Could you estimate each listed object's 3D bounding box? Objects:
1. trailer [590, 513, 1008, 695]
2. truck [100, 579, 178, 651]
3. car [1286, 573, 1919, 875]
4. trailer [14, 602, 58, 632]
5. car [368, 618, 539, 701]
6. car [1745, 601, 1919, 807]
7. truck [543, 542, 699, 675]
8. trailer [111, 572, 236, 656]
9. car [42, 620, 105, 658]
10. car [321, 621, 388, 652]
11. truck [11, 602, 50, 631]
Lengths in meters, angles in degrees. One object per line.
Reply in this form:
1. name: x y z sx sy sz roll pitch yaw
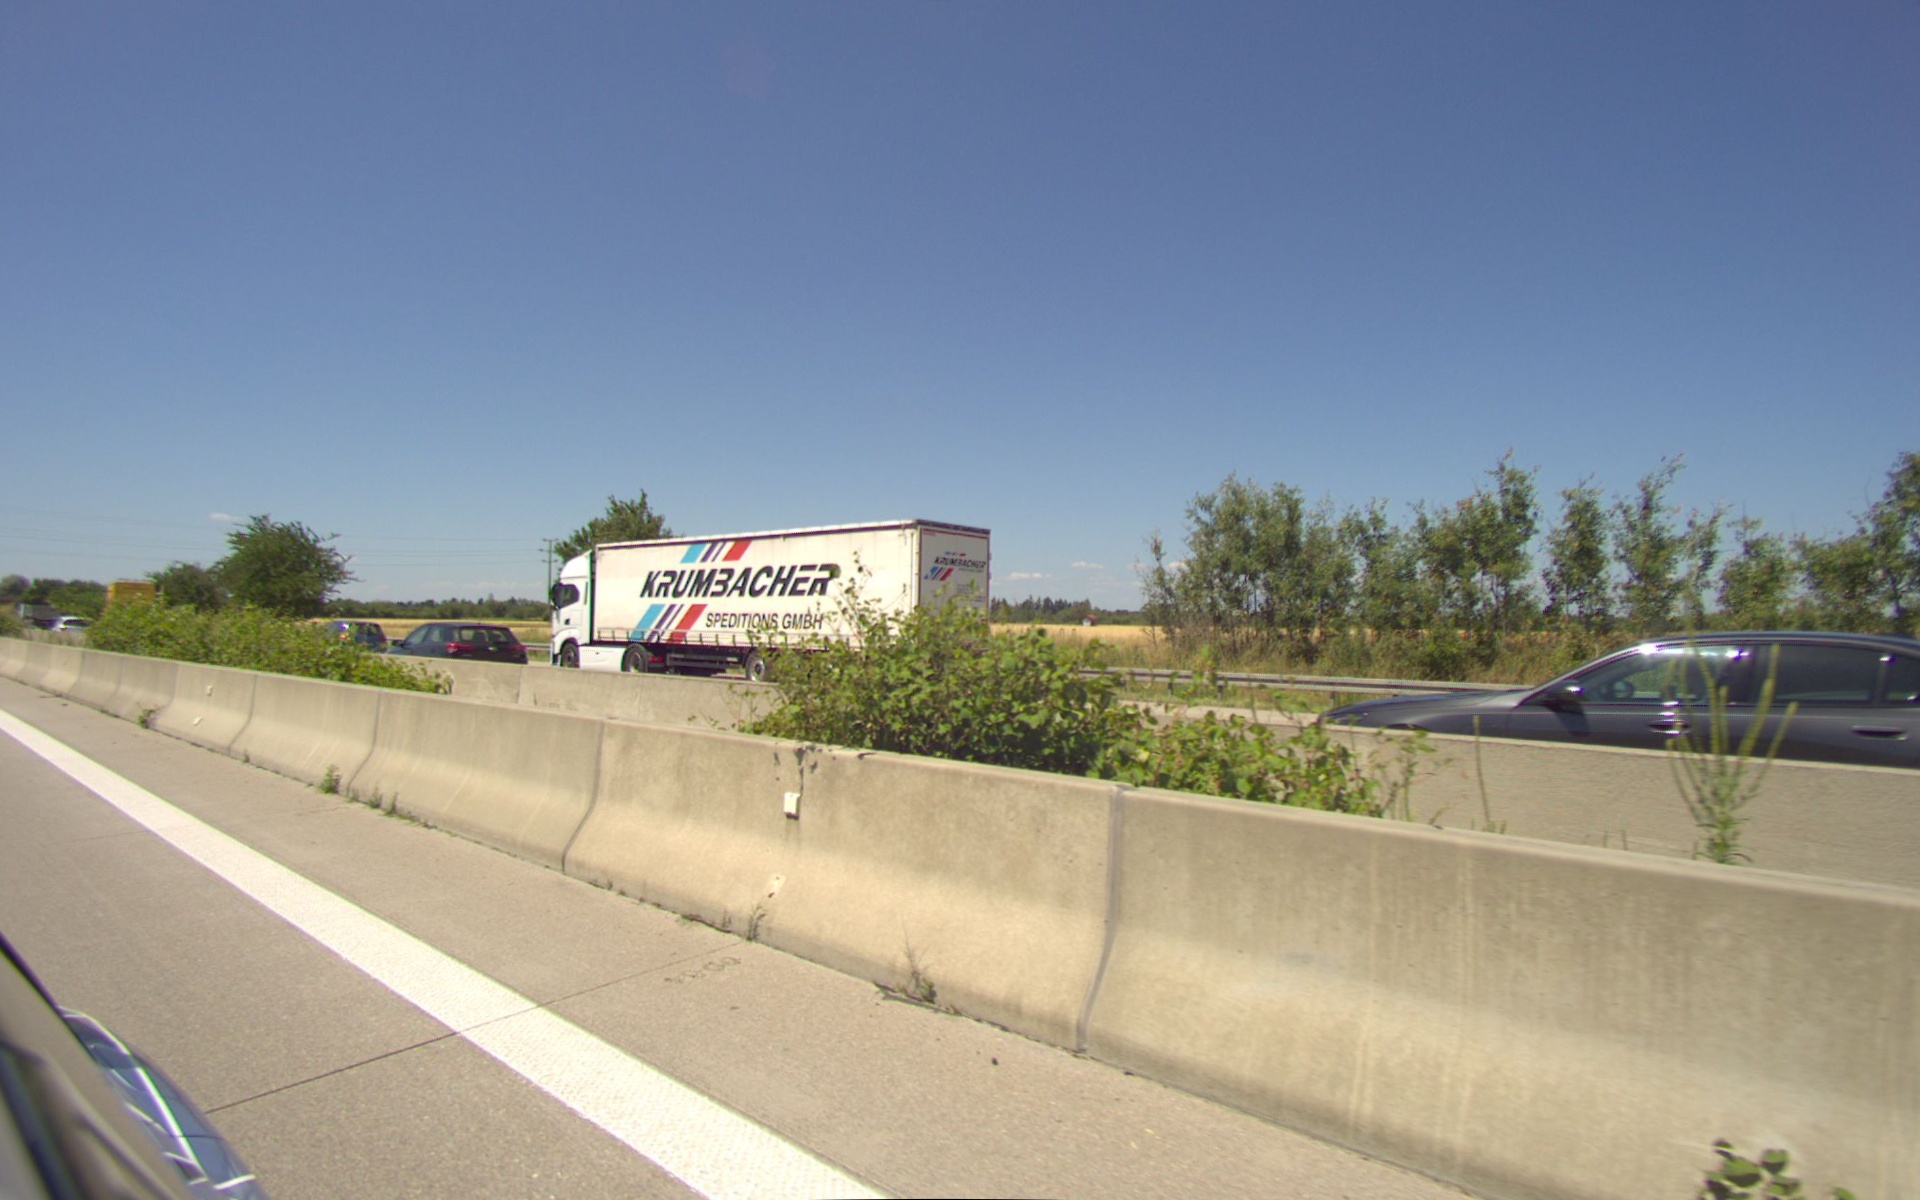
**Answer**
1. trailer: -5.006 0.169 26.880 13.821 3.831 2.741 -1 0 41
2. truck: -49.018 0.866 60.392 5.538 4.111 2.715 -1 0 41
3. car: 5.035 0.670 6.802 5.071 1.620 1.904 -1 0 41
4. trailer: -107.773 1.939 117.995 9.458 3.329 2.799 -1 0 41
5. car: -10.451 1.144 20.755 4.115 1.495 1.709 -1 0 41
6. car: 9.628 0.872 8.605 4.625 1.736 1.757 -1 0 38
7. truck: -10.700 0.265 31.847 4.449 3.869 2.741 -1 0 41
8. trailer: -42.882 0.777 54.860 14.607 4.070 2.747 -1 0 42
9. car: -44.634 1.943 50.903 4.711 1.817 1.688 -1 -2 40
10. car: -22.421 1.342 37.453 2.897 1.070 1.290 -1 0 41
11. truck: -111.357 2.009 121.242 5.611 3.329 2.777 -1 0 41
